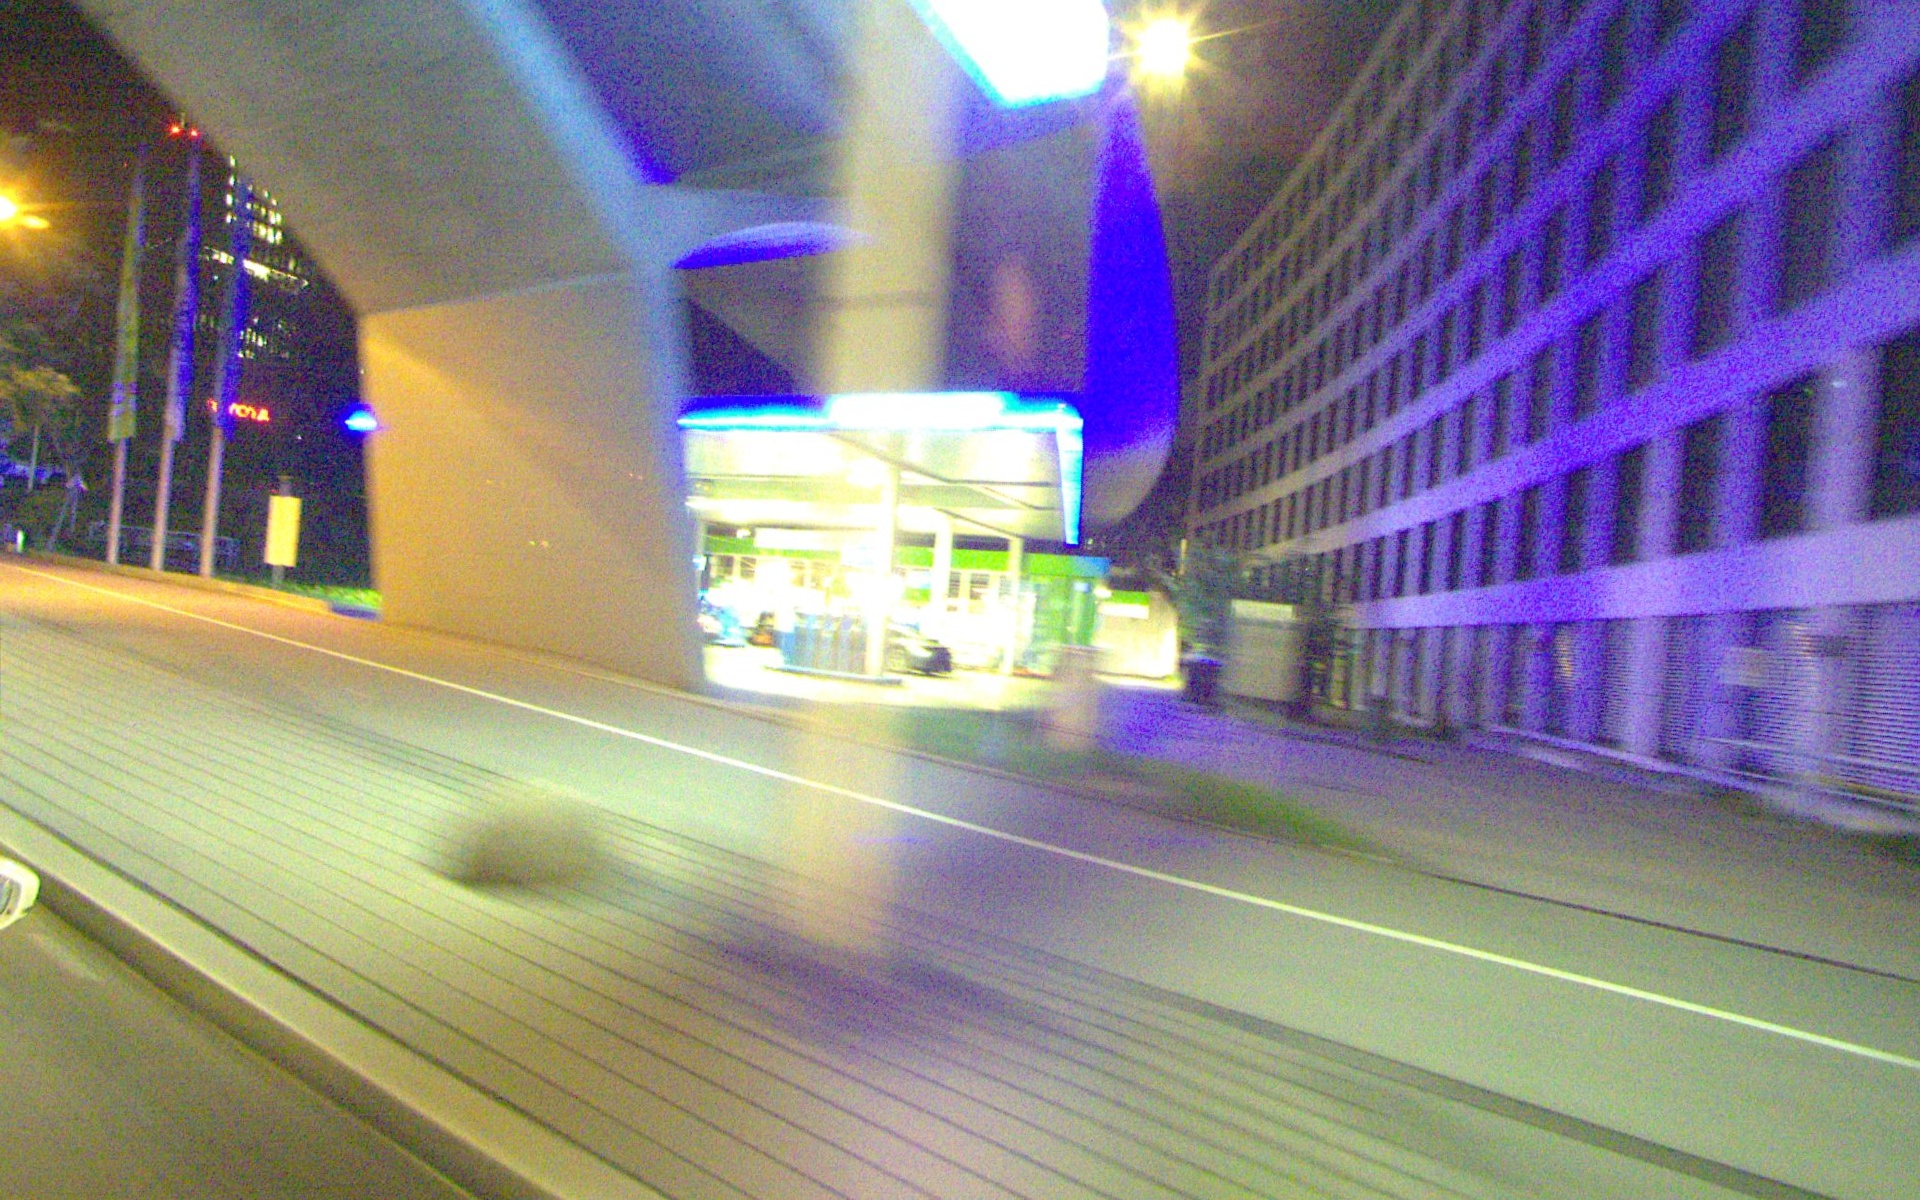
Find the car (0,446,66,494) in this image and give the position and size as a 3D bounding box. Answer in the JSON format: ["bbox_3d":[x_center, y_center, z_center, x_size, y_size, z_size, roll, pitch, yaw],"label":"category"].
[{"bbox_3d":[-37.560,-5.176,38.977,1.710,1.591,3.988,6,1,33],"label":"car"}]

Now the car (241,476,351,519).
[{"bbox_3d":[-28.720,-4.412,43.588,1.611,1.490,3.637,5,2,35],"label":"car"}]

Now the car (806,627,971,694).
[{"bbox_3d":[-2.059,1.731,28.966,4.259,1.379,1.931,6,-1,28],"label":"car"}]

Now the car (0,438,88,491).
[{"bbox_3d":[-35.353,-5.125,37.363,1.793,1.541,4.121,5,0,33],"label":"car"}]

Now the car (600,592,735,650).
[{"bbox_3d":[-9.429,0.664,32.443,3.997,1.374,1.658,6,-2,26],"label":"car"}]

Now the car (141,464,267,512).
[{"bbox_3d":[-35.300,-5.216,47.090,1.723,1.748,4.357,6,2,34],"label":"car"}]

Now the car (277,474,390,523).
[{"bbox_3d":[-33.101,-5.331,53.284,1.966,1.934,4.583,6,0,28],"label":"car"}]

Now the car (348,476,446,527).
[{"bbox_3d":[-27.855,-4.863,49.908,1.722,1.919,3.815,6,0,28],"label":"car"}]
